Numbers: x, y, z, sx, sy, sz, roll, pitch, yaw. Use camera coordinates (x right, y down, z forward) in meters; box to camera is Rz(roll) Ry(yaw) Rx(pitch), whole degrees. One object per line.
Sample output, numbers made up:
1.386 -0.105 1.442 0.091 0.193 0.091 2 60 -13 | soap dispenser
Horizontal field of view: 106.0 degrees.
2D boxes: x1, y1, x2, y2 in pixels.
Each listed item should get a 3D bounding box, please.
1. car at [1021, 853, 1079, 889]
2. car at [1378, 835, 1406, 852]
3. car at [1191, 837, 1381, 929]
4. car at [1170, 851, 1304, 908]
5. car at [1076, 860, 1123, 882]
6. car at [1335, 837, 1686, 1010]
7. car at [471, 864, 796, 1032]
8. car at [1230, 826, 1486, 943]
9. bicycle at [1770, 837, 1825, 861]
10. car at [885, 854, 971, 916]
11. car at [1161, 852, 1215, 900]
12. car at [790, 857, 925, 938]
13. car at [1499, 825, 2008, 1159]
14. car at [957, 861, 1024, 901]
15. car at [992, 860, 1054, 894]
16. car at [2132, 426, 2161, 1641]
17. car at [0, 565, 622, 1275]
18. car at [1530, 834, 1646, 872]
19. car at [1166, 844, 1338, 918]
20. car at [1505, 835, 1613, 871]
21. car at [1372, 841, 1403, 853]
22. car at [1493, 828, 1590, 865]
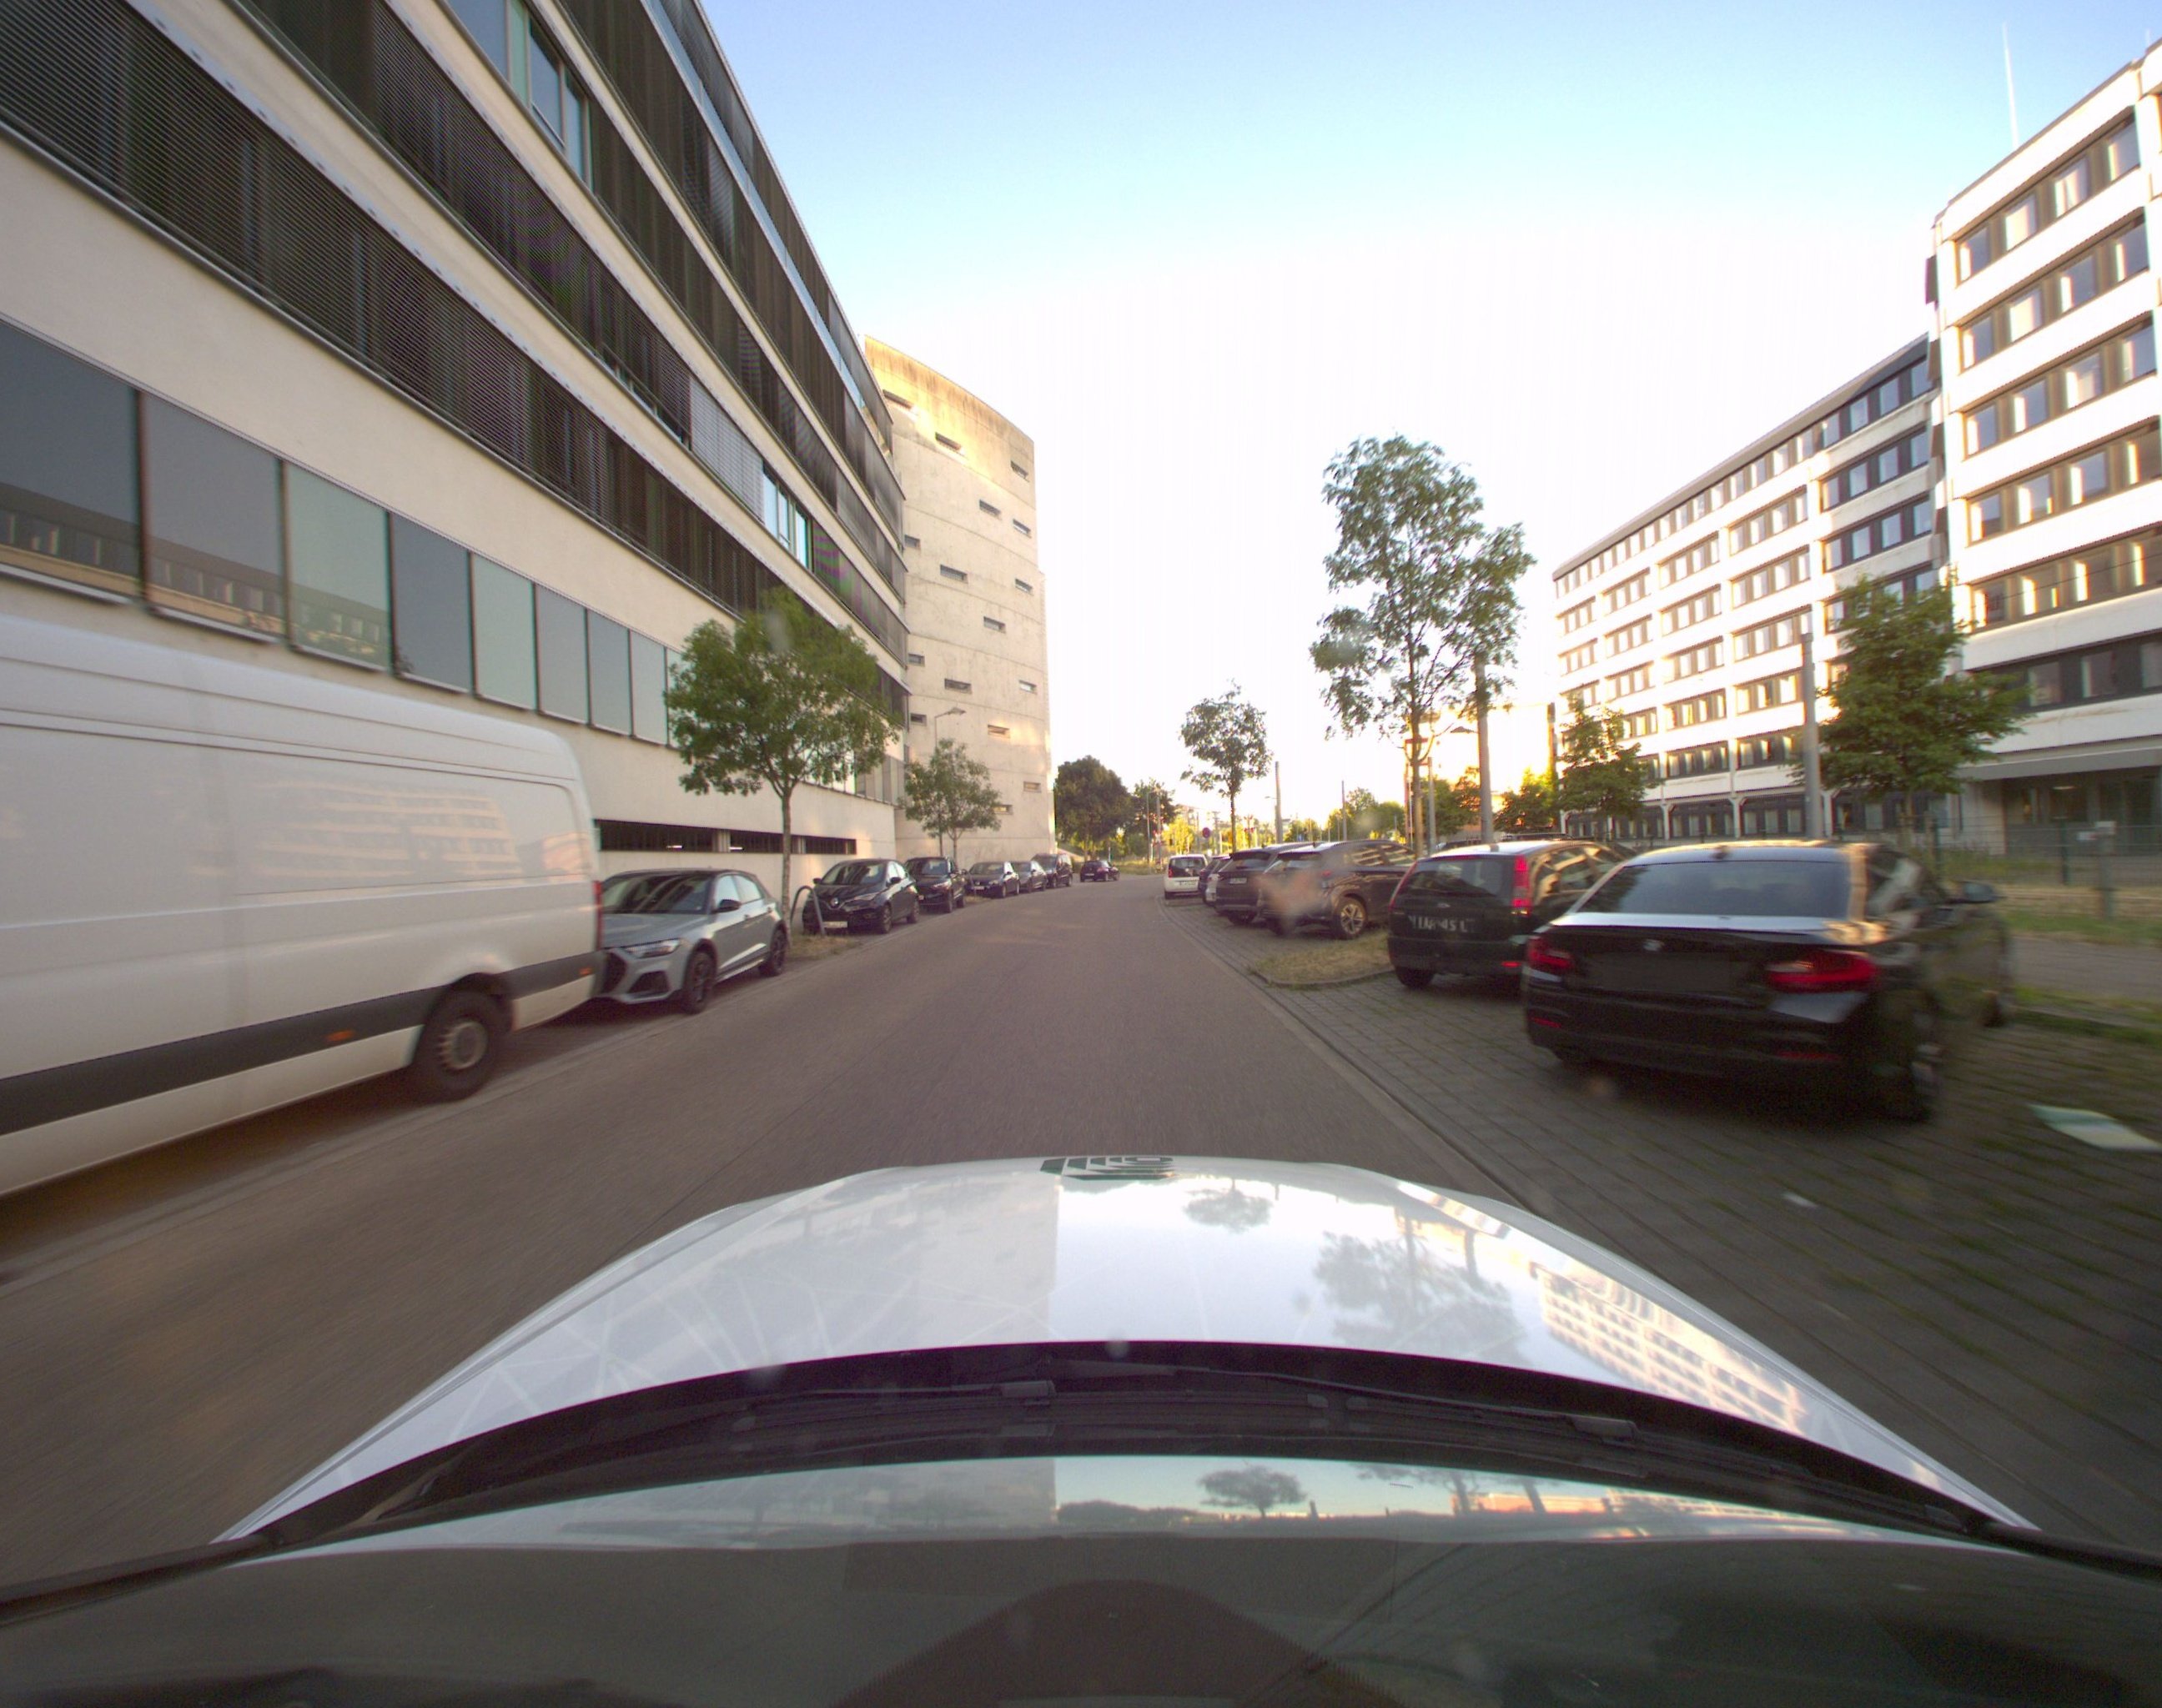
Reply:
-1.570 0.855 43.448 1.744 1.798 4.482 0 0 16 | car
49.923 -1.634 130.821 4.117 2.584 1.712 -3 -1 22 | car
4.363 0.529 17.173 3.792 1.725 1.746 -1 0 -32 | car
4.647 0.707 24.083 3.767 1.509 1.671 -1 0 -32 | car
1.271 1.080 53.518 1.929 1.382 4.419 0 0 17 | car
4.633 0.566 8.626 3.795 1.442 1.744 -1 0 -35 | car
-4.745 0.875 9.361 1.752 1.439 3.896 0 0 -4 | car
4.886 0.480 14.339 3.996 1.640 1.955 -4 -1 -27 | car
37.522 -0.263 42.681 0.825 1.200 2.432 0 0 1 | bicycle
-4.387 0.843 23.895 1.750 1.653 3.948 0 0 0 | car
3.804 0.722 28.625 1.712 1.467 3.562 -3 0 9 | car
-4.760 0.857 17.938 1.749 1.561 4.044 0 0 1 | car
4.543 0.587 5.342 3.795 1.465 1.621 -1 0 -35 | car
-3.593 1.027 33.008 1.713 1.457 4.280 0 0 7 | car
-2.659 1.021 38.365 1.711 1.457 4.709 0 0 11 | car
4.227 0.272 1.861 4.620 2.035 1.852 -1 0 -33 | car
-4.949 0.247 3.442 1.951 2.617 6.894 0 0 1 | car
24.269 -0.042 39.096 4.480 1.602 1.694 -2 -1 0 | car
4.405 0.650 20.901 3.944 1.509 1.938 -4 0 -29 | car
24.332 -0.028 41.545 4.480 1.602 1.694 -2 -1 0 | car
45.280 -1.050 120.194 4.115 1.576 1.713 -3 -1 26 | car
26.732 -0.409 47.391 4.478 1.937 1.932 -2 -1 2 | car
